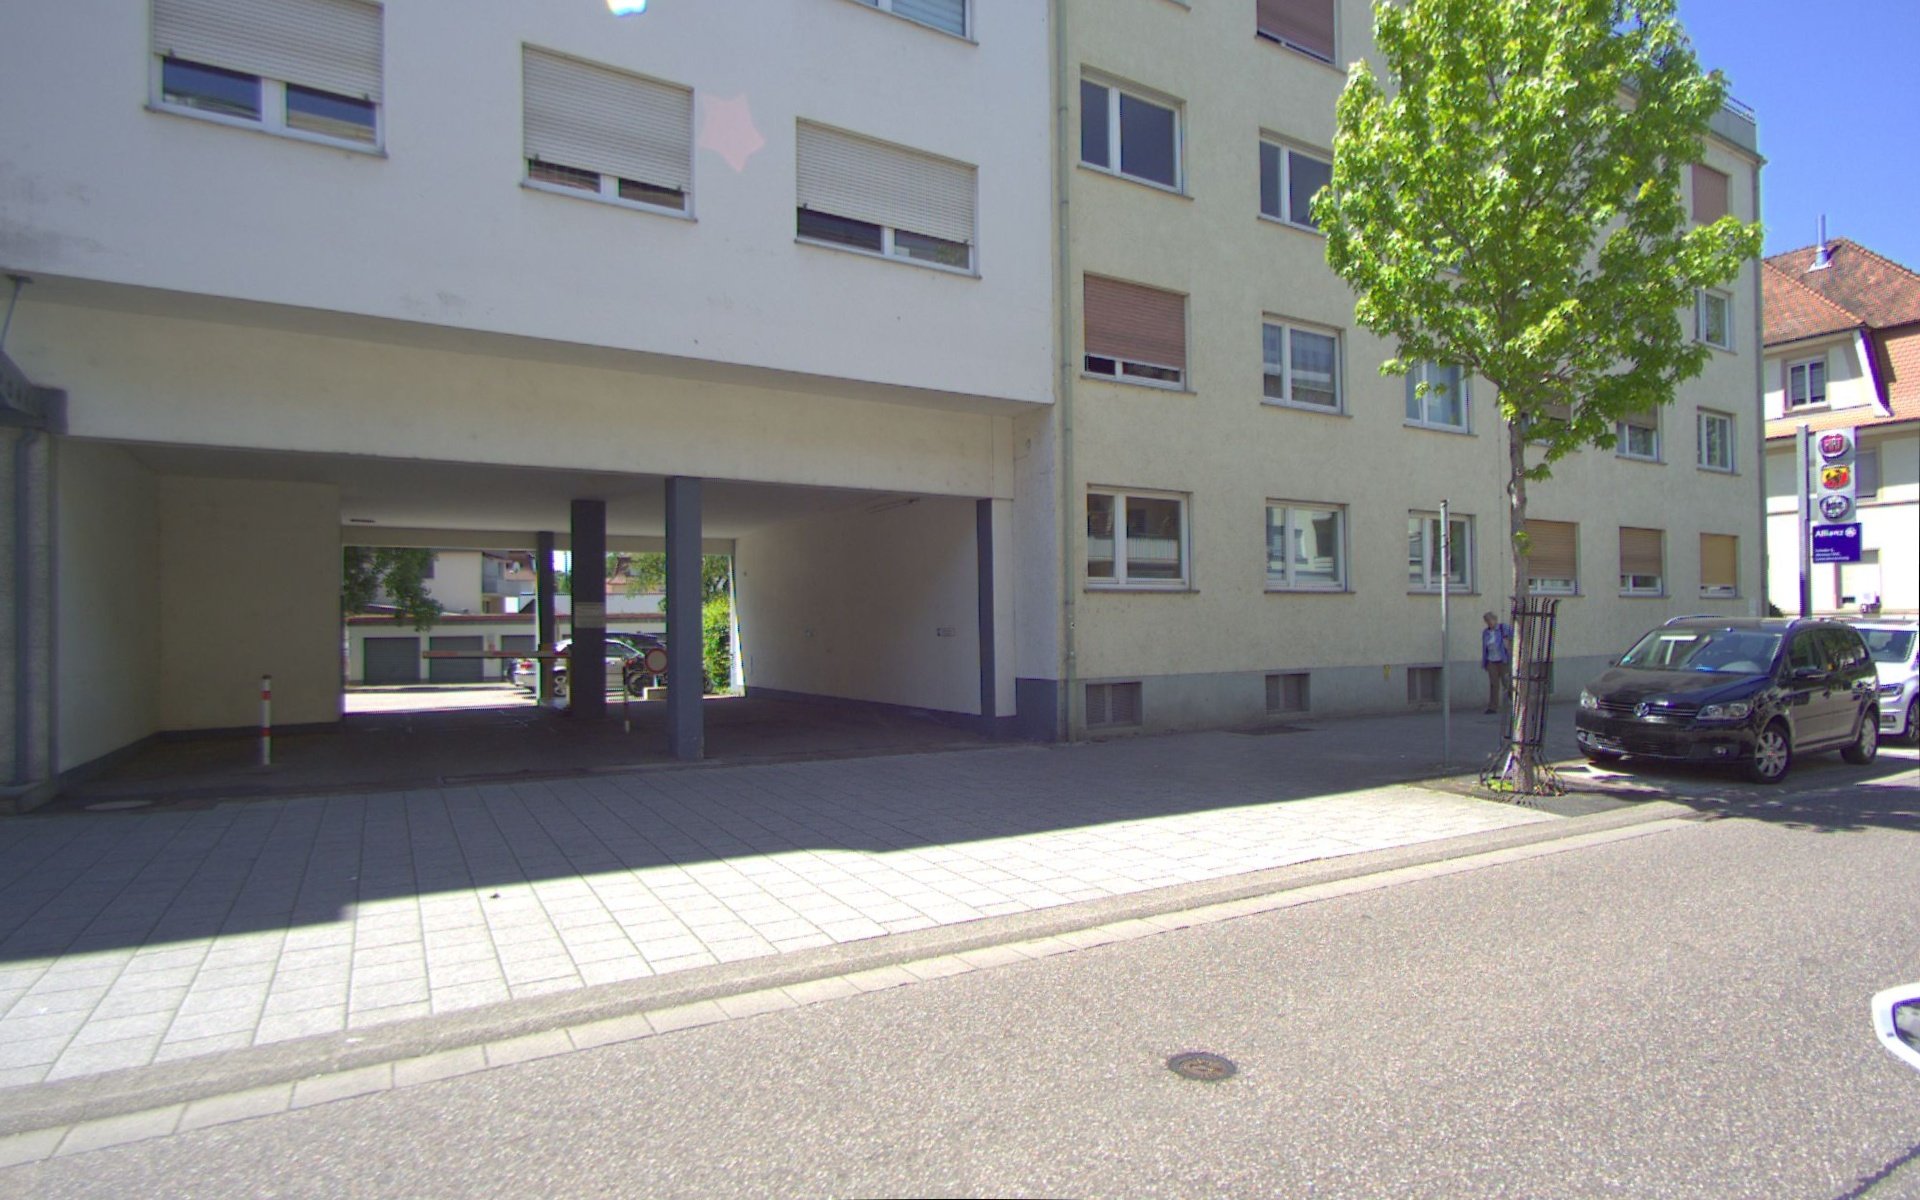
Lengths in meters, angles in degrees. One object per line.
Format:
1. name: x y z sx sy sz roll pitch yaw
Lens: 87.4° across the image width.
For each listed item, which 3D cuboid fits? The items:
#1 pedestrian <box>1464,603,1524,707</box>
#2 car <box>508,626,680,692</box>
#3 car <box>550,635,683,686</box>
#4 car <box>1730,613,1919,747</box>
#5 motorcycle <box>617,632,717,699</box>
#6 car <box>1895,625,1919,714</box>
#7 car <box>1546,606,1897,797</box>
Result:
1. pedestrian: 8.950 0.919 16.837 0.649 1.702 0.628 -5 -2 42
2. car: -9.280 1.476 25.482 3.866 1.518 1.821 0 -3 -30
3. car: -11.312 1.984 33.100 3.866 1.518 1.821 0 -3 -30
4. car: 13.082 1.020 14.436 4.343 1.641 1.814 0 -1 -32
5. motorcycle: -7.068 1.568 24.300 2.204 1.505 0.678 -1 -3 -31
6. car: 18.370 1.189 17.539 4.267 1.493 1.747 1 -1 -28
7. car: 8.672 0.968 11.343 4.343 1.764 1.719 0 1 -32
